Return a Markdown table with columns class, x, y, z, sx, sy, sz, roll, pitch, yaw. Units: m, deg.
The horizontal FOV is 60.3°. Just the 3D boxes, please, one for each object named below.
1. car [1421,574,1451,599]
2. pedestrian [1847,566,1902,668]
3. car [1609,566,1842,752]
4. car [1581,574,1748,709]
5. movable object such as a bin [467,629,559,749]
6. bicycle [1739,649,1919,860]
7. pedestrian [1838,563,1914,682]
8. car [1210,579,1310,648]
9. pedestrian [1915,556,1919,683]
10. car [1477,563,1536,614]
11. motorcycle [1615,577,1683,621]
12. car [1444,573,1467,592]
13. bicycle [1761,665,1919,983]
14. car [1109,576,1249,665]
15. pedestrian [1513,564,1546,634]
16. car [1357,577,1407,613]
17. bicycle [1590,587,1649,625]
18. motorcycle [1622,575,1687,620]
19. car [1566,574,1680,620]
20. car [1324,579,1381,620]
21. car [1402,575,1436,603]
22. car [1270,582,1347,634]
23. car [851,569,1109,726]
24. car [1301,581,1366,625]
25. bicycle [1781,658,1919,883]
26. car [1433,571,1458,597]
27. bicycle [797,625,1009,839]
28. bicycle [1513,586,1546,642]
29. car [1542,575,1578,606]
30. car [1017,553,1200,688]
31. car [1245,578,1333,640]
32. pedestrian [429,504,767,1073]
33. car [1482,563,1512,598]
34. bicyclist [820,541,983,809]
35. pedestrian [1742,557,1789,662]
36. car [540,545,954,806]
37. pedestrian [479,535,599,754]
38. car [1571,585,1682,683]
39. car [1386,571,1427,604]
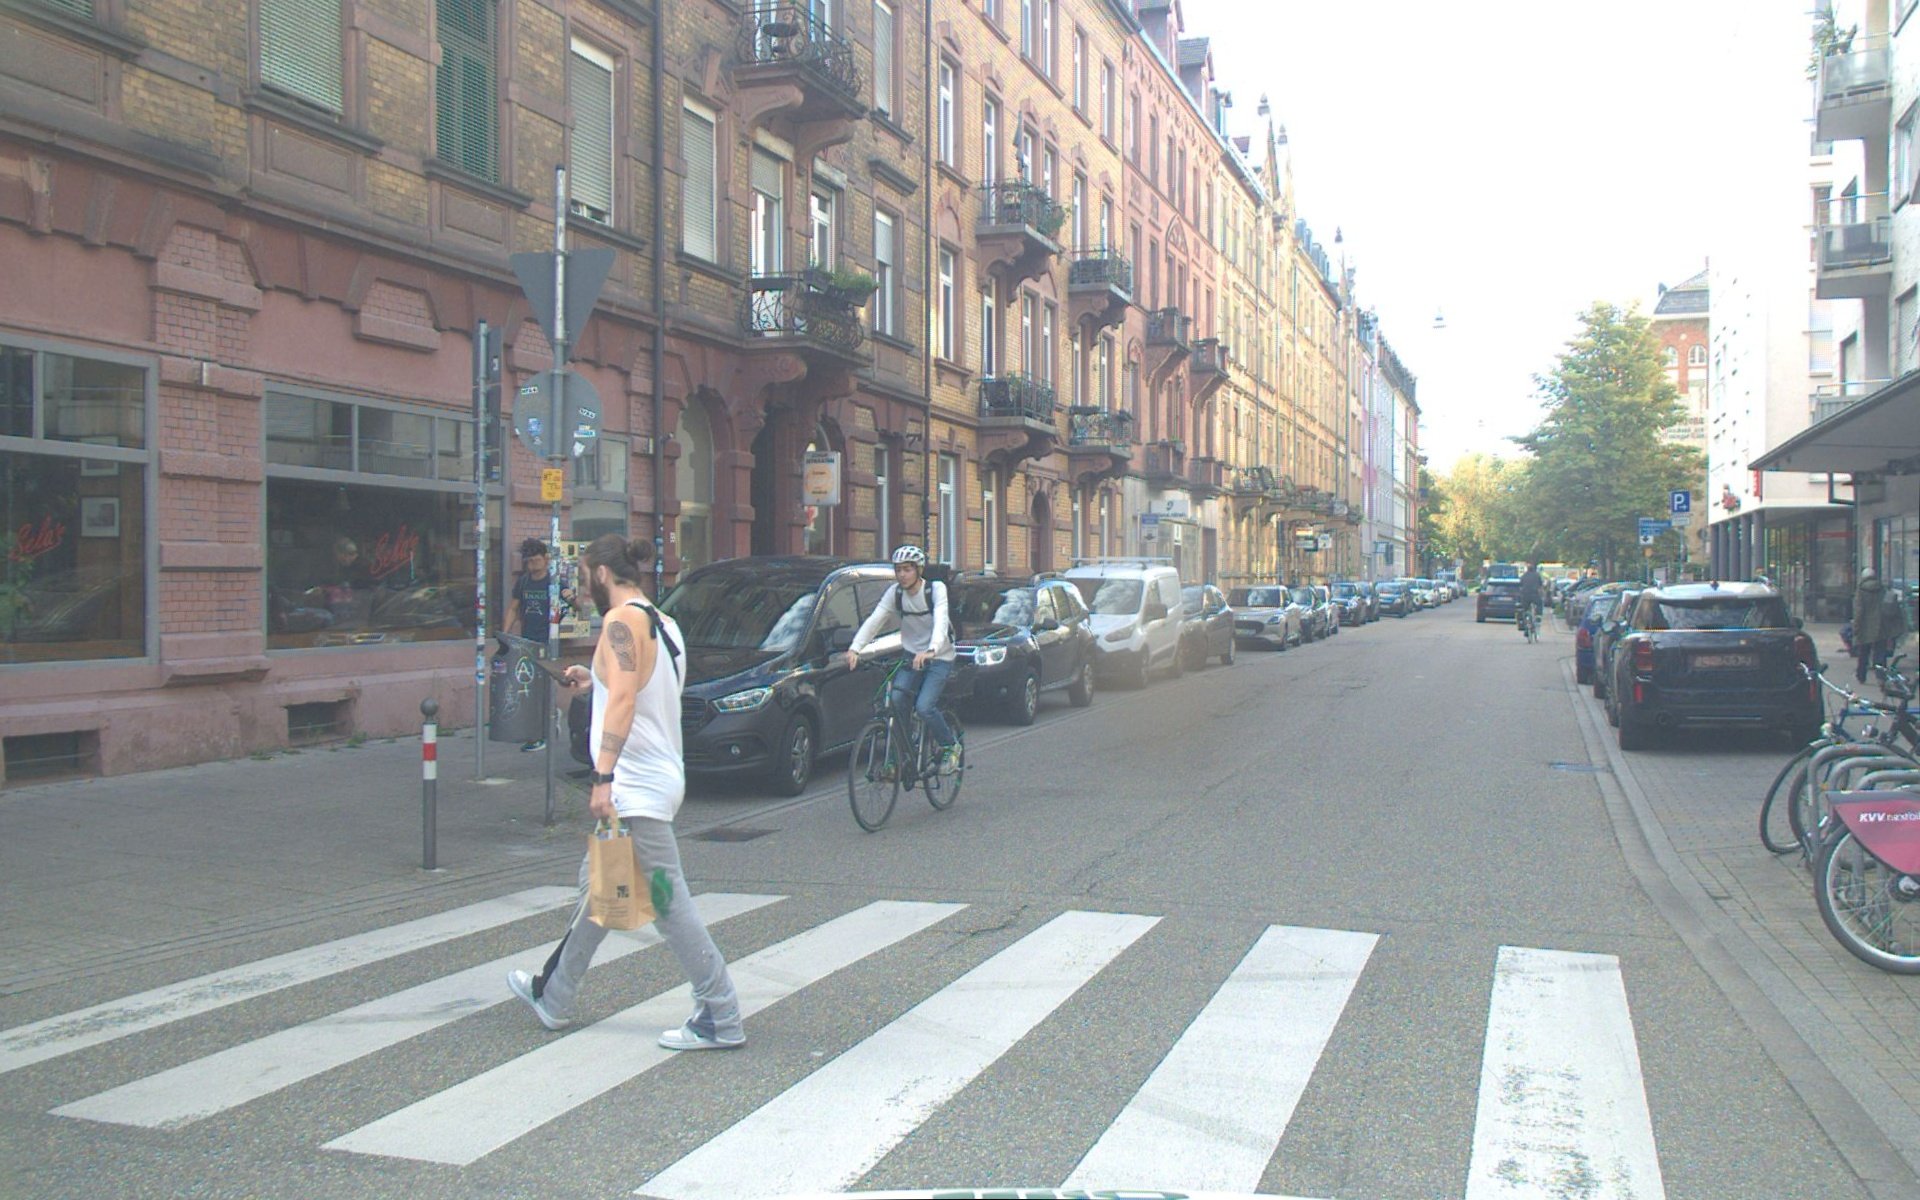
| class | x | y | z | sx | sy | sz | roll | pitch | yaw |
| --- | --- | --- | --- | --- | --- | --- | --- | --- | --- |
| car | 31.498 | -0.901 | 109.381 | 1.655 | 1.577 | 3.869 | 2 | 1 | 19 |
| pedestrian | 14.813 | 0.275 | 26.794 | 0.630 | 1.616 | 0.781 | -2 | 0 | 21 |
| car | 7.649 | 0.518 | 16.851 | 1.755 | 1.633 | 3.925 | -3 | 0 | 20 |
| car | 9.165 | 0.481 | 21.754 | 1.653 | 1.604 | 3.904 | -1 | 0 | 18 |
| movable object such as a bin | -2.873 | 0.561 | 10.642 | 0.375 | 0.726 | 0.476 | 1 | 1 | 15 |
| bicycle | 5.346 | 0.836 | 9.150 | 1.749 | 1.089 | 0.587 | -2 | 1 | 10 |
| pedestrian | 12.696 | 0.306 | 22.937 | 0.807 | 1.616 | 0.780 | 0 | 0 | 21 |
| car | 7.227 | 0.301 | 39.582 | 1.705 | 1.509 | 3.984 | 2 | 1 | 20 |
| pedestrian | 14.775 | 0.290 | 24.719 | 0.639 | 1.892 | 0.699 | 0 | 1 | -41 |
| car | 20.274 | -0.418 | 61.277 | 1.924 | 1.771 | 4.042 | 2 | 0 | 20 |
| motorcycle | 23.931 | -0.036 | 57.425 | 2.107 | 1.460 | 0.765 | -2 | 0 | 24 |
| car | 41.691 | -1.474 | 139.178 | 1.655 | 1.577 | 3.869 | 2 | 1 | 19 |
| bicycle | 4.267 | 0.844 | 6.514 | 1.843 | 1.145 | 0.908 | -3 | 0 | 18 |
| car | 4.143 | 0.368 | 30.835 | 1.706 | 1.509 | 3.984 | 2 | 0 | 21 |
| pedestrian | 13.848 | -0.036 | 40.193 | 0.703 | 1.678 | 0.930 | 1 | 1 | 20 |
| car | 18.362 | -0.225 | 71.943 | 1.656 | 1.393 | 3.868 | 5 | 2 | 20 |
| bicycle | 21.810 | 0.192 | 54.692 | 1.758 | 1.179 | 0.500 | -2 | 0 | 23 |
| motorcycle | 25.245 | -0.094 | 60.153 | 2.107 | 1.557 | 0.686 | -2 | 0 | 24 |
| car | 25.070 | -0.098 | 62.652 | 3.680 | 1.573 | 1.732 | -2 | -1 | 9 |
| car | 14.811 | -0.030 | 62.274 | 1.655 | 1.462 | 3.868 | 2 | 1 | 20 |
| car | 26.379 | -0.638 | 94.977 | 1.655 | 1.577 | 3.869 | 2 | 1 | 19 |
| car | 10.179 | 0.209 | 48.126 | 1.655 | 1.411 | 3.868 | 2 | 1 | 20 |
| car | 0.372 | 0.478 | 19.976 | 1.952 | 1.666 | 4.147 | 1 | 1 | 18 |
| car | 12.745 | 0.085 | 56.316 | 1.655 | 1.411 | 3.868 | 2 | 1 | 20 |
| bicycle | 5.275 | 0.852 | 8.526 | 1.749 | 1.089 | 0.569 | -2 | 1 | 10 |
| car | 36.618 | -1.200 | 124.754 | 1.655 | 1.852 | 3.869 | 1 | 1 | 19 |
| bicycle | -0.333 | 0.838 | 11.262 | 0.686 | 1.241 | 2.118 | -2 | 0 | 19 |
| bicycle | 13.863 | 0.317 | 40.251 | 0.703 | 1.296 | 1.884 | 1 | 1 | 20 |
| car | 34.293 | -0.574 | 94.549 | 1.890 | 1.666 | 4.001 | 1 | 1 | 20 |
| car | 2.411 | 0.243 | 25.817 | 1.879 | 1.904 | 4.439 | 0 | 1 | 18 |
| car | 8.807 | 0.219 | 44.056 | 1.705 | 1.509 | 3.984 | 2 | 1 | 20 |
| pedestrian | -1.145 | 0.562 | 5.417 | 1.000 | 1.700 | 0.803 | 0 | 0 | -8 |
| car | 33.352 | -1.223 | 102.685 | 1.745 | 2.055 | 3.890 | 1 | 1 | 18 |
| bicyclist | -0.376 | 0.480 | 11.192 | 0.686 | 1.707 | 1.113 | -2 | 0 | 19 |
| pedestrian | 13.793 | 0.153 | 28.353 | 0.599 | 1.756 | 1.127 | -1 | 1 | 20 |
| car | -1.582 | 0.498 | 14.046 | 1.723 | 1.804 | 4.408 | 2 | 1 | 18 |
| pedestrian | -3.751 | 0.372 | 14.772 | 0.662 | 1.872 | 0.858 | 2 | 1 | 14 |
| car | 10.995 | 0.509 | 27.458 | 1.562 | 1.464 | 4.031 | -1 | 1 | 20 |
| car | 22.566 | -0.654 | 83.565 | 1.655 | 1.577 | 3.868 | 2 | 1 | 20 |
